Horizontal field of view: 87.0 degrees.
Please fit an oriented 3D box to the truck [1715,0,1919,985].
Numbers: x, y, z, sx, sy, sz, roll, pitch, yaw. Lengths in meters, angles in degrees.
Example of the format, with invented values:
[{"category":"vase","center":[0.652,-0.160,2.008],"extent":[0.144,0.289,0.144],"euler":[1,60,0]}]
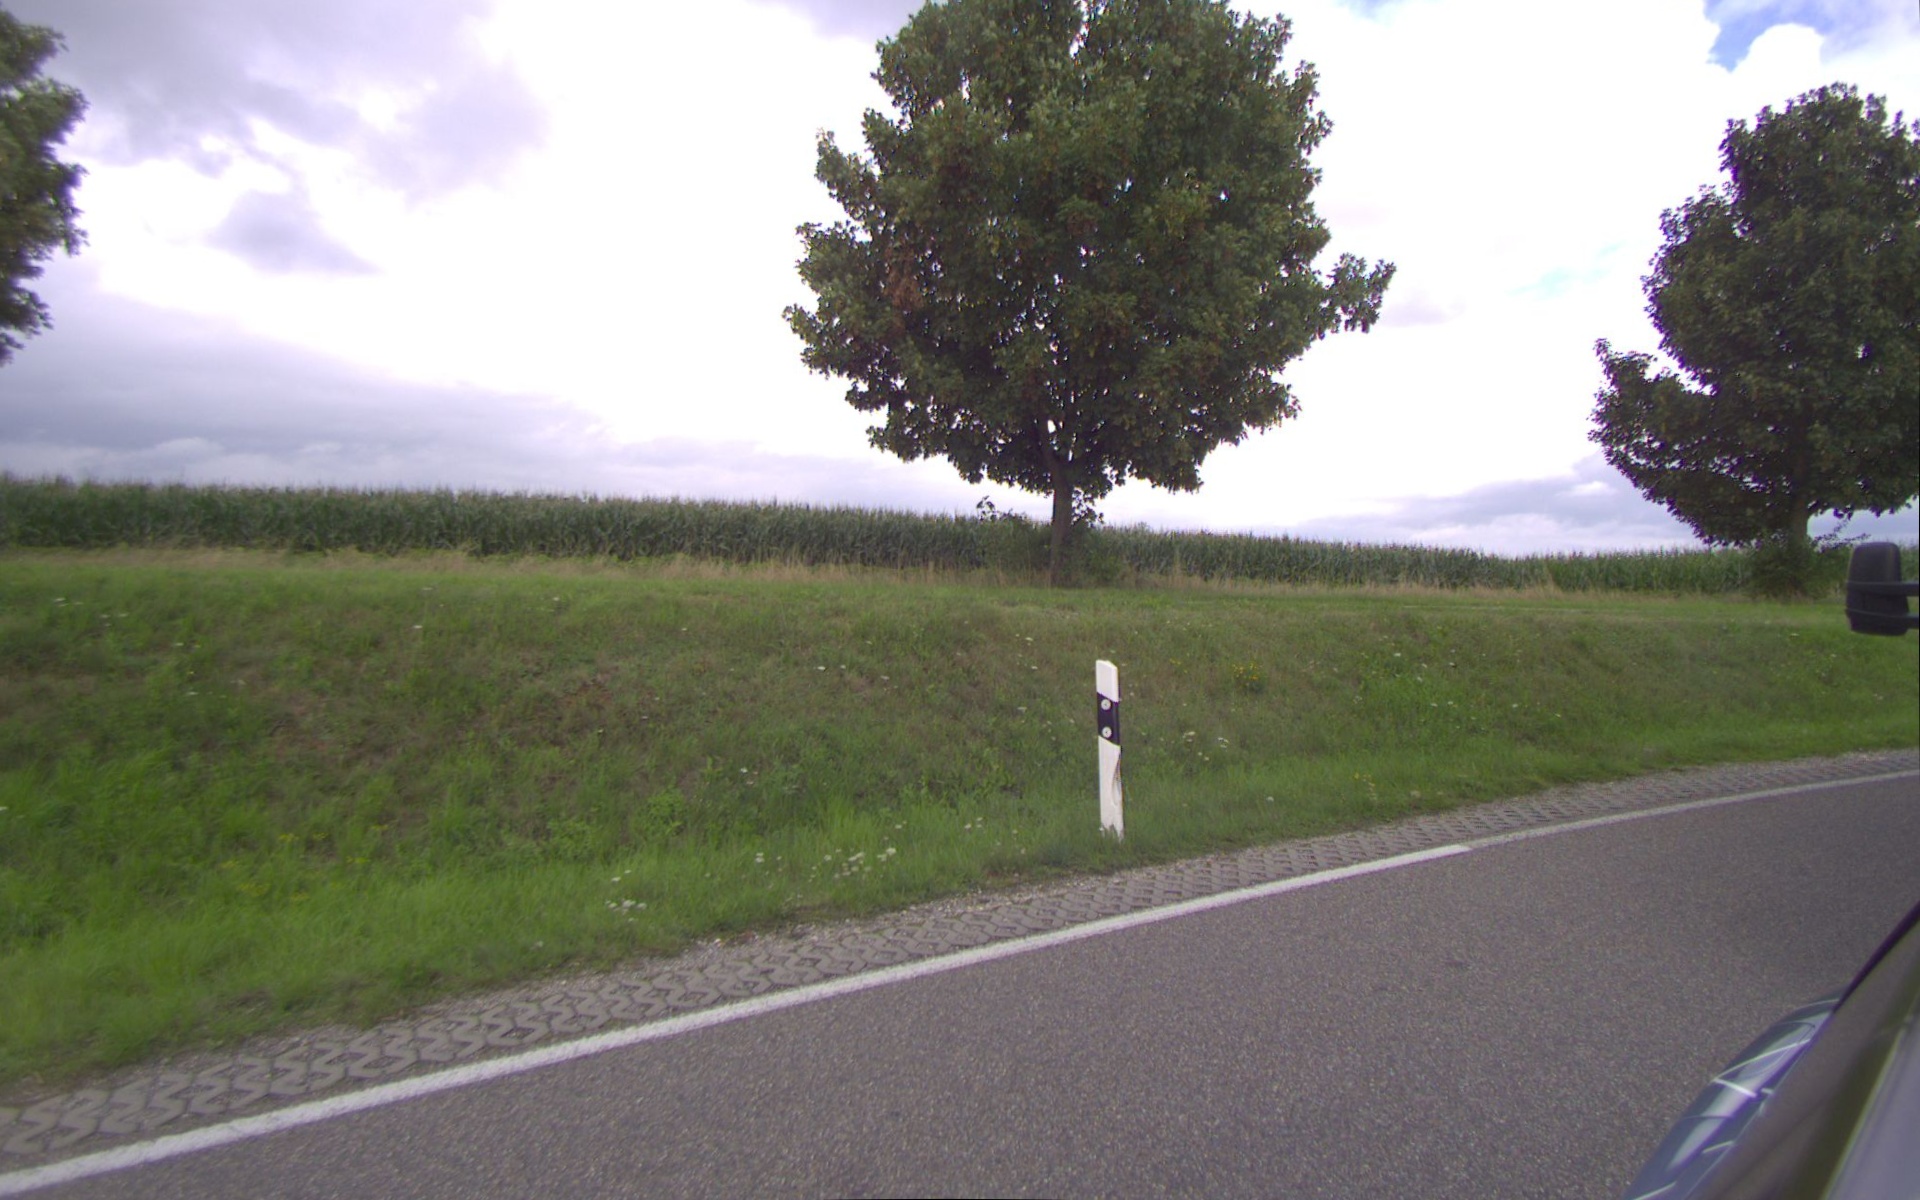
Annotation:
[{"category":"truck","center":[7.192,-0.633,4.572],"extent":[8.623,3.810,2.843],"euler":[1,1,-30]}]
